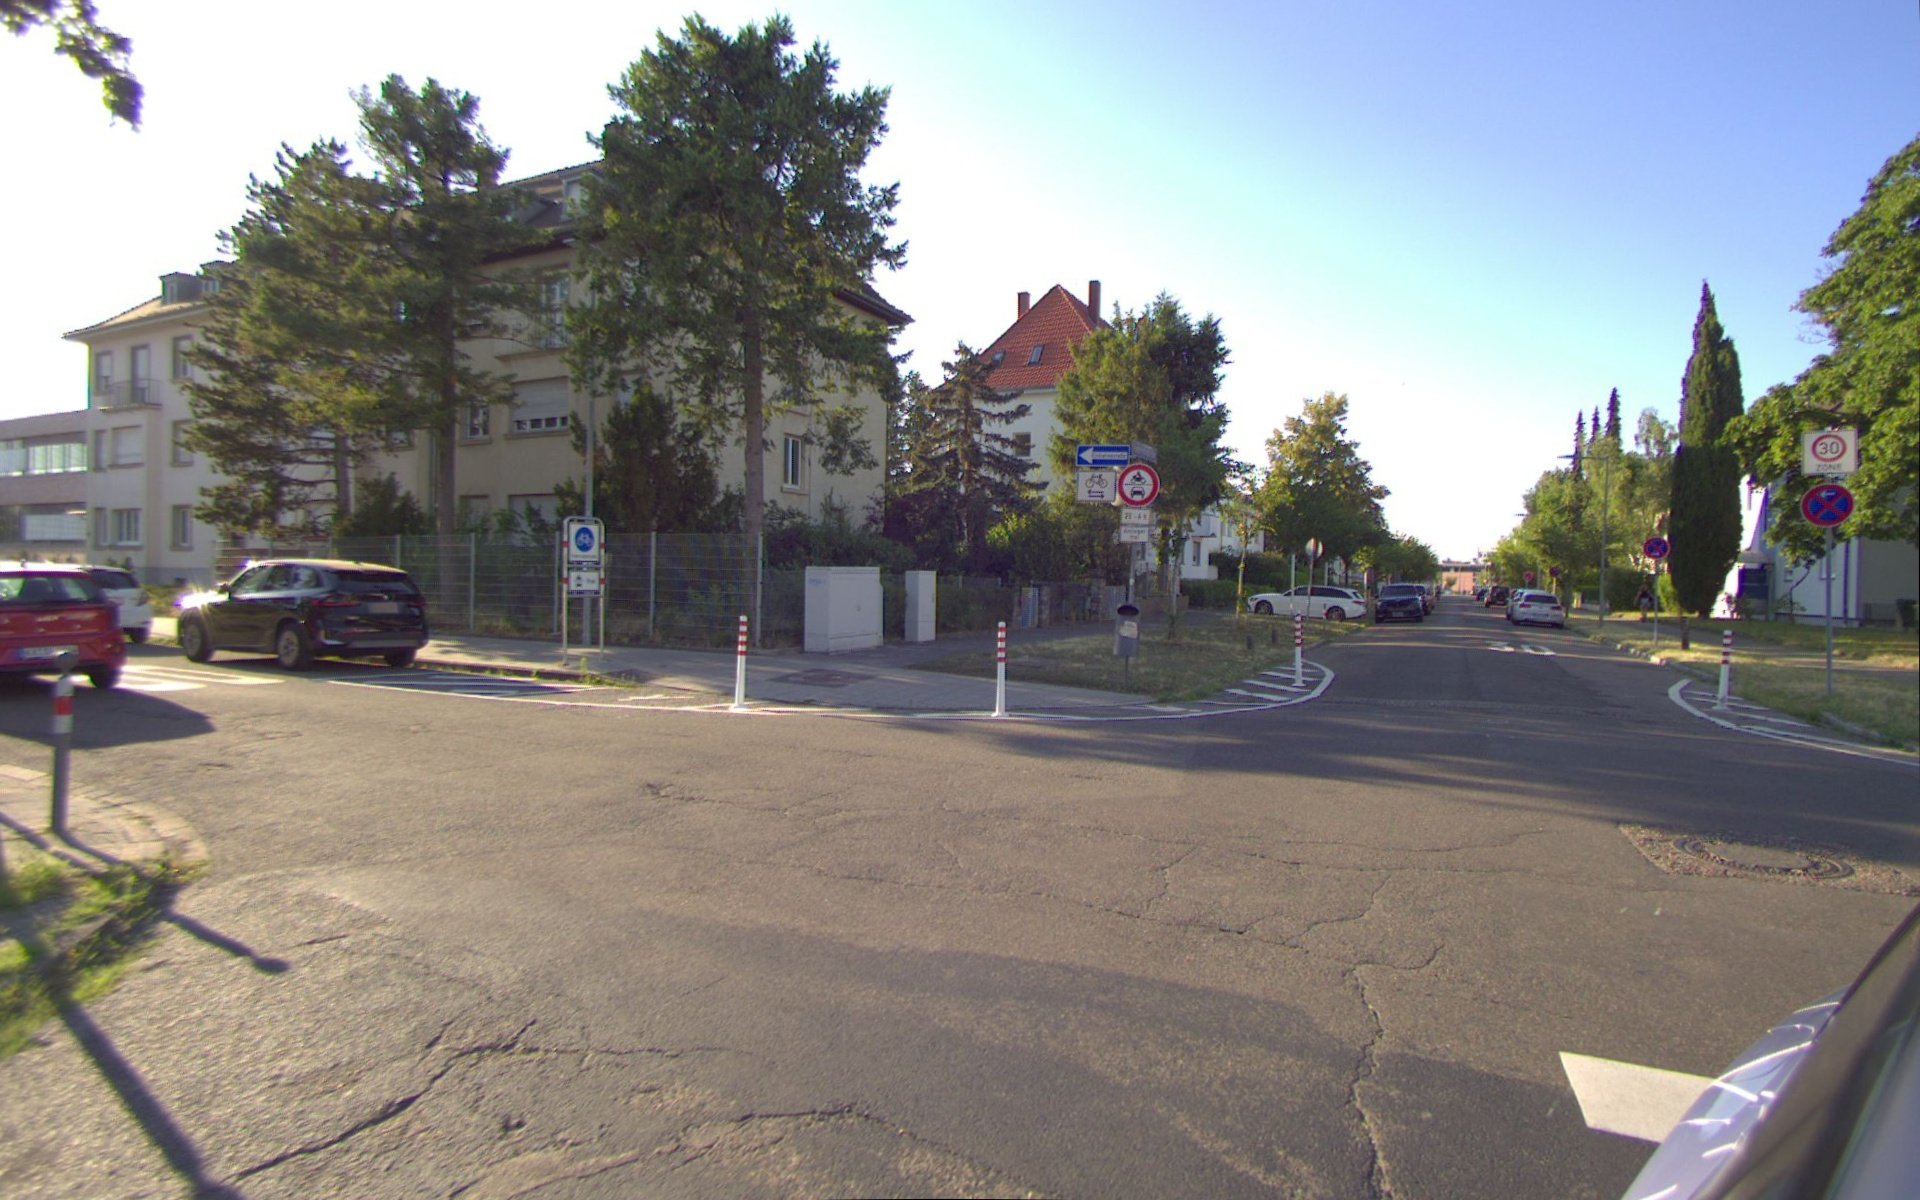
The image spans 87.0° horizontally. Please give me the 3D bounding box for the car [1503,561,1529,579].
[{"bbox_3d":[52.406,-2.811,95.467,1.952,1.634,4.209,1,2,26],"label":"car"}]

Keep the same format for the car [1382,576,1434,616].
[{"bbox_3d":[19.471,-0.213,44.067,1.950,1.634,4.214,1,2,23],"label":"car"}]

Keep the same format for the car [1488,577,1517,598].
[{"bbox_3d":[44.249,-1.047,82.596,1.952,1.634,4.209,1,2,26],"label":"car"}]

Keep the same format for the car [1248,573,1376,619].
[{"bbox_3d":[14.455,-0.201,41.595,4.790,1.633,1.954,3,2,26],"label":"car"}]

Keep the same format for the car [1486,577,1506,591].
[{"bbox_3d":[63.831,-1.938,120.503,1.952,1.634,4.209,1,2,26],"label":"car"}]

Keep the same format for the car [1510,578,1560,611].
[{"bbox_3d":[29.644,-0.326,52.303,1.952,1.634,4.209,1,2,26],"label":"car"}]

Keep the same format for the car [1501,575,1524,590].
[{"bbox_3d":[59.696,-1.910,109.326,1.952,1.634,4.209,1,2,26],"label":"car"}]

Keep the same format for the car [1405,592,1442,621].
[{"bbox_3d":[28.684,0.344,62.712,1.950,1.634,4.214,1,2,23],"label":"car"}]

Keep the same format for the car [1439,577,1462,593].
[{"bbox_3d":[52.365,-1.630,108.113,1.950,1.634,4.214,1,2,23],"label":"car"}]

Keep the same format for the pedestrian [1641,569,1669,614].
[{"bbox_3d":[31.529,-0.393,45.922,0.890,2.038,0.686,1,1,28],"label":"pedestrian"}]

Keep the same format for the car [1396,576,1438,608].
[{"bbox_3d":[24.642,-0.459,54.632,1.950,1.634,4.214,1,2,23],"label":"car"}]

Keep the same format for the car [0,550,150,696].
[{"bbox_3d":[-11.638,0.181,12.025,3.736,1.544,1.755,1,2,27],"label":"car"}]

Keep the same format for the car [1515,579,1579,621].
[{"bbox_3d":[24.482,-0.049,42.333,1.952,1.634,4.209,1,2,26],"label":"car"}]

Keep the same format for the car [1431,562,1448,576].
[{"bbox_3d":[63.462,-4.150,133.982,1.950,1.797,4.214,1,2,23],"label":"car"}]

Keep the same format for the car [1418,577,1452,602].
[{"bbox_3d":[33.455,-0.770,71.374,1.950,1.634,4.214,1,2,23],"label":"car"}]

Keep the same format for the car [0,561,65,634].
[{"bbox_3d":[-21.826,-0.104,22.497,3.725,1.537,1.719,2,1,28],"label":"car"}]

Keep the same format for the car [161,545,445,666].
[{"bbox_3d":[-10.199,0.050,15.676,4.175,1.662,1.805,2,-1,27],"label":"car"}]

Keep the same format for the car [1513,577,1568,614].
[{"bbox_3d":[27.389,-0.261,47.860,1.952,1.634,4.209,1,2,26],"label":"car"}]

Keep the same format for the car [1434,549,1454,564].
[{"bbox_3d":[58.219,-5.214,121.778,1.950,1.797,4.214,1,2,23],"label":"car"}]

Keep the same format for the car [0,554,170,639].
[{"bbox_3d":[-17.626,-0.140,20.123,3.741,1.544,1.753,2,2,30],"label":"car"}]
